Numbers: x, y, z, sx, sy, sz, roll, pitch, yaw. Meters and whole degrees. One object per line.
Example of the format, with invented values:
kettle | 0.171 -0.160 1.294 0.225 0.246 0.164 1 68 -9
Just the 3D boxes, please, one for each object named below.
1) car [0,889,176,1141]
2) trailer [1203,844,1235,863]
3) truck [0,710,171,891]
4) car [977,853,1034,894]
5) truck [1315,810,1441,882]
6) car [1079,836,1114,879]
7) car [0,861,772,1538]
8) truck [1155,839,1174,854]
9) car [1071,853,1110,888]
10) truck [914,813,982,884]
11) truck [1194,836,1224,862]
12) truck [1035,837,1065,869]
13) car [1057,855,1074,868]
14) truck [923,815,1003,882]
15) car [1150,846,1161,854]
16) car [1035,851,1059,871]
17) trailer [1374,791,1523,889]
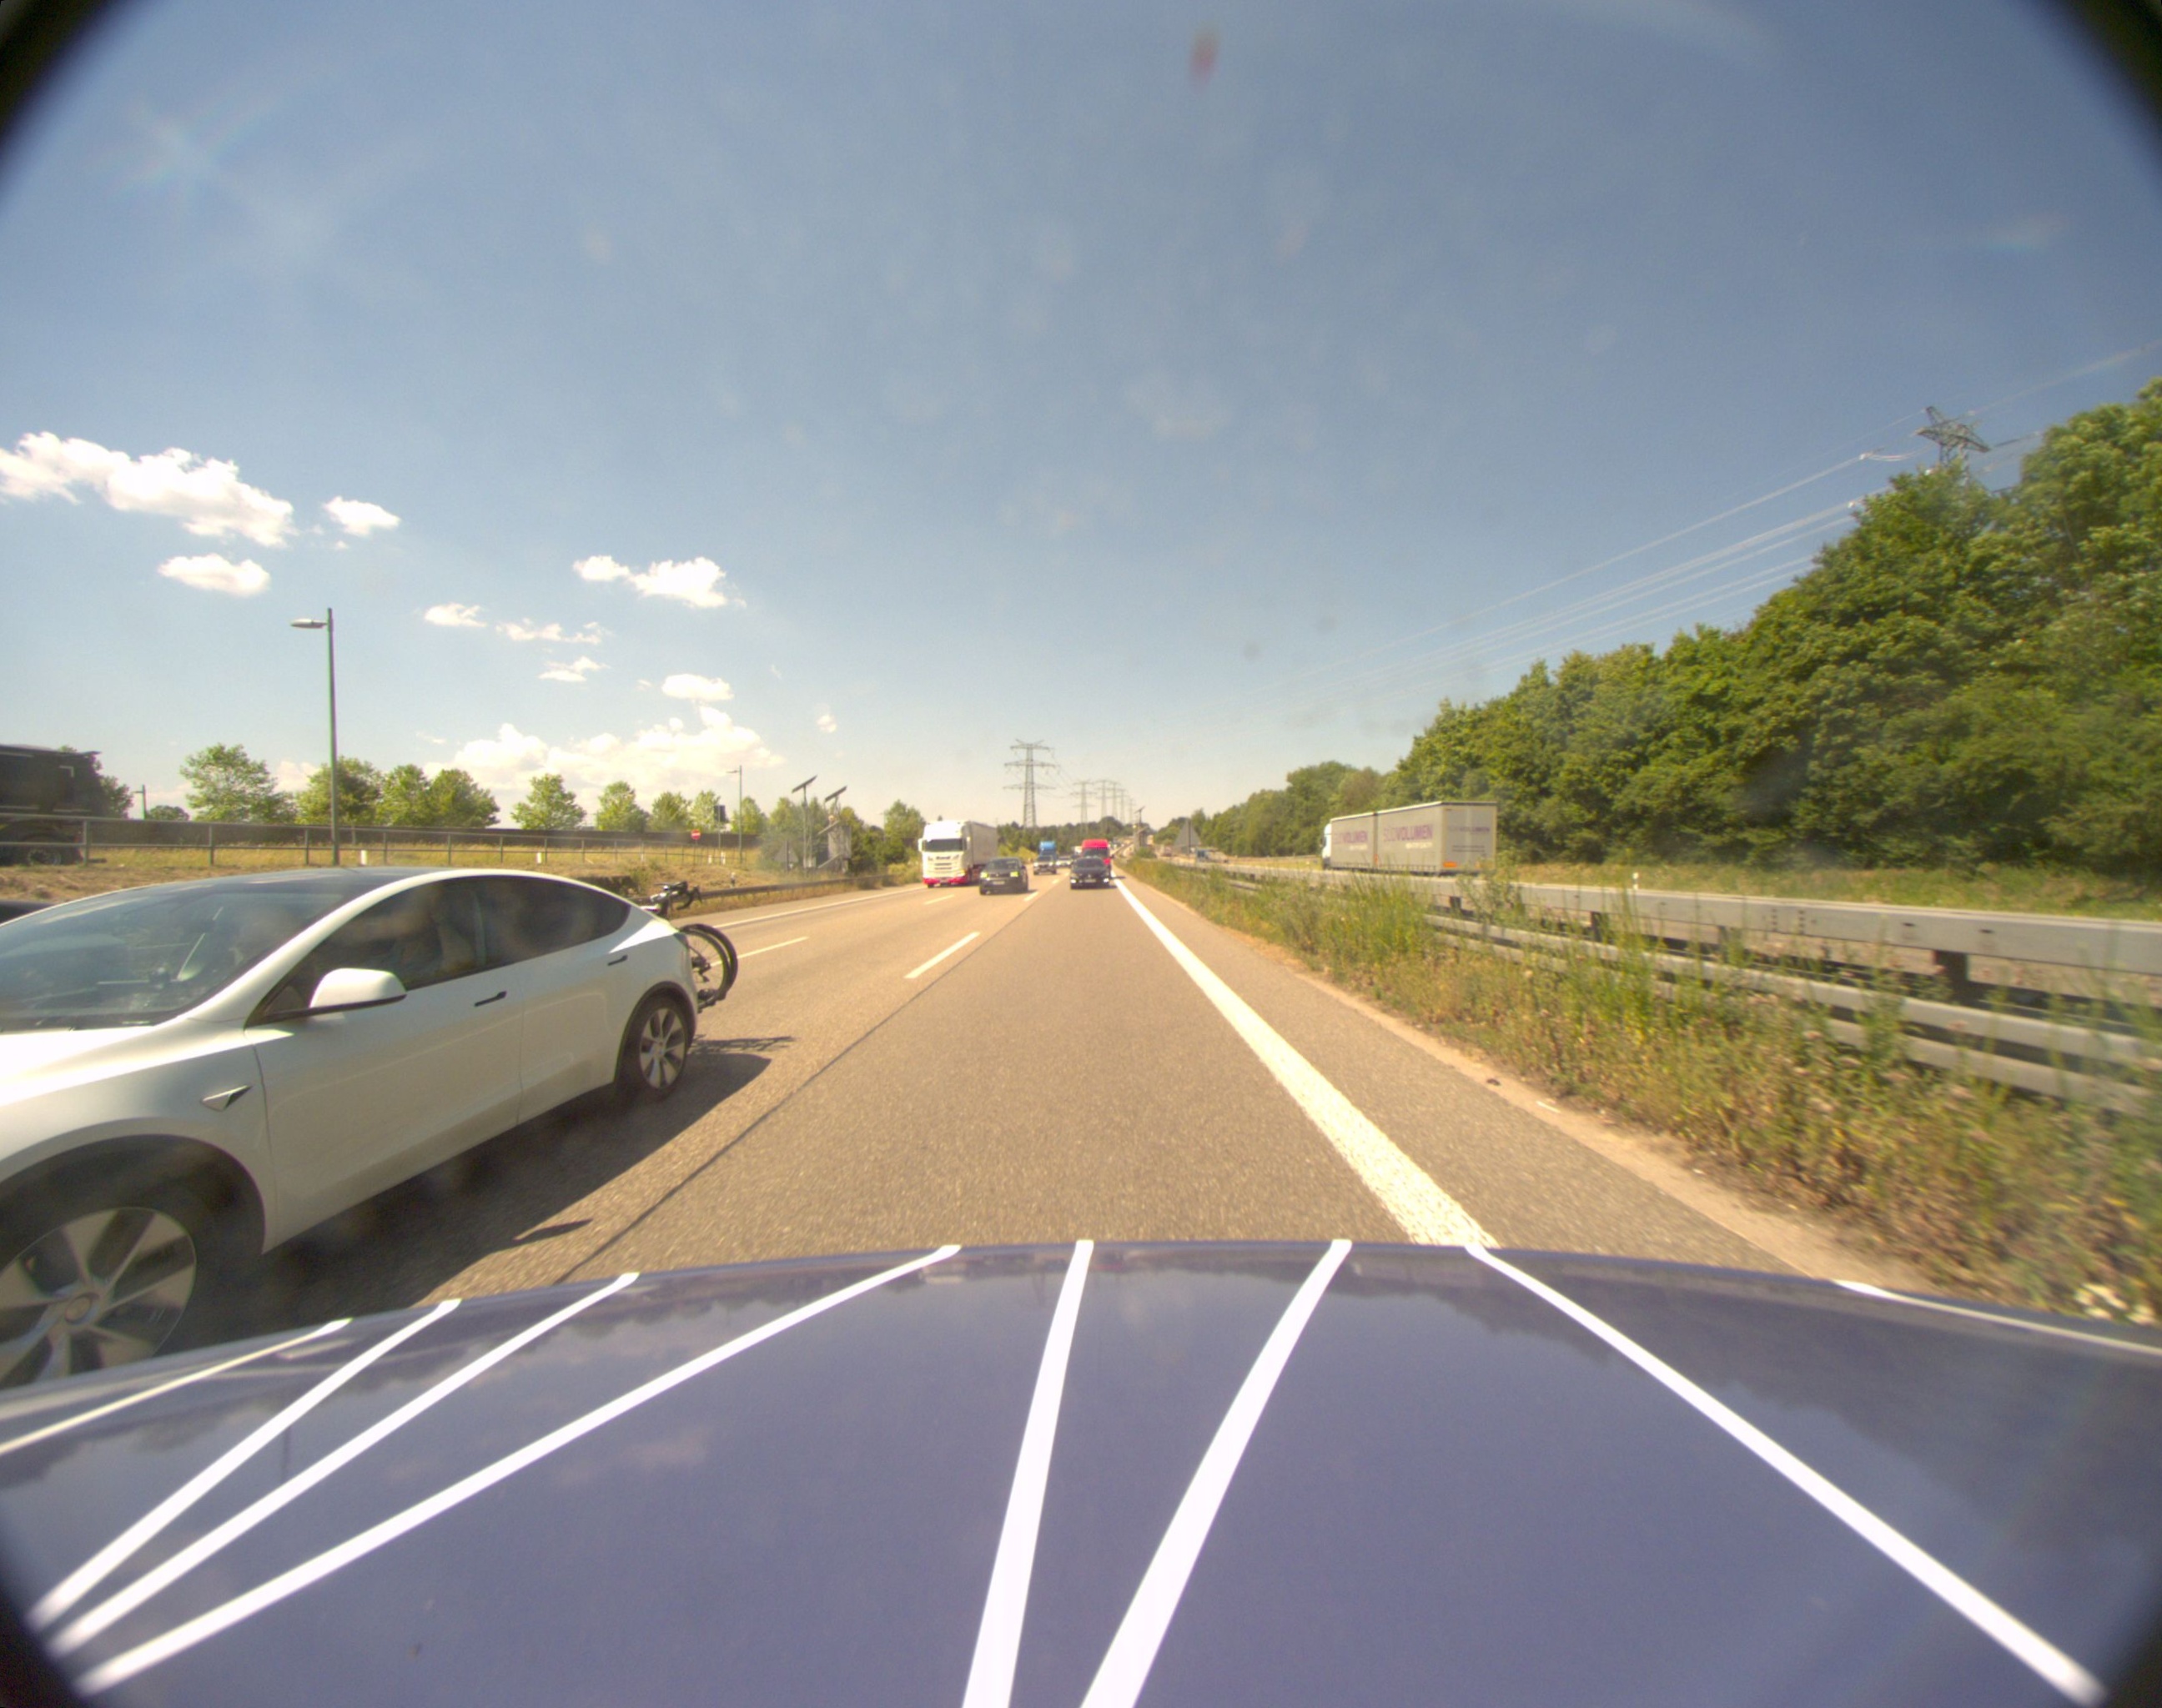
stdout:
car | -8.196 1.151 3.751 1.873 1.627 4.585 -2 1 0
trailer | 19.763 -0.126 109.357 3.153 2.624 8.531 -2 1 2
truck | -26.044 -1.094 13.780 3.798 4.059 12.516 -2 1 0
car | -3.311 0.824 34.078 1.955 1.637 4.047 -3 1 2
truck | 18.135 -0.464 47.550 3.462 3.971 11.122 0 0 0
car | 1.044 0.161 48.375 2.100 2.598 4.496 0 1 3
car | -3.746 0.947 3.870 1.955 1.627 5.600 -2 1 0
truck | 27.311 -2.479 250.442 3.005 4.314 14.541 -1 -2 -7
car | 0.478 0.758 36.149 1.735 1.535 3.750 0 1 2
truck | -7.740 -0.312 44.667 3.076 3.885 3.847 -2 1 1
truck | 19.967 -0.796 119.093 3.003 3.780 10.789 -1 1 1
truck | -5.145 -0.253 131.334 3.797 4.971 14.924 -2 1 2
car | -1.883 0.944 95.671 1.878 1.591 3.689 0 1 3
truck | -7.711 -0.368 51.759 3.076 3.885 12.503 -2 0 1
car | 14.733 -0.774 149.931 1.728 1.647 4.860 1 1 1
car | -2.938 0.583 66.271 1.749 1.691 4.089 0 1 3
trailer | 18.054 -0.669 38.103 3.462 4.255 7.969 -2 1 0
